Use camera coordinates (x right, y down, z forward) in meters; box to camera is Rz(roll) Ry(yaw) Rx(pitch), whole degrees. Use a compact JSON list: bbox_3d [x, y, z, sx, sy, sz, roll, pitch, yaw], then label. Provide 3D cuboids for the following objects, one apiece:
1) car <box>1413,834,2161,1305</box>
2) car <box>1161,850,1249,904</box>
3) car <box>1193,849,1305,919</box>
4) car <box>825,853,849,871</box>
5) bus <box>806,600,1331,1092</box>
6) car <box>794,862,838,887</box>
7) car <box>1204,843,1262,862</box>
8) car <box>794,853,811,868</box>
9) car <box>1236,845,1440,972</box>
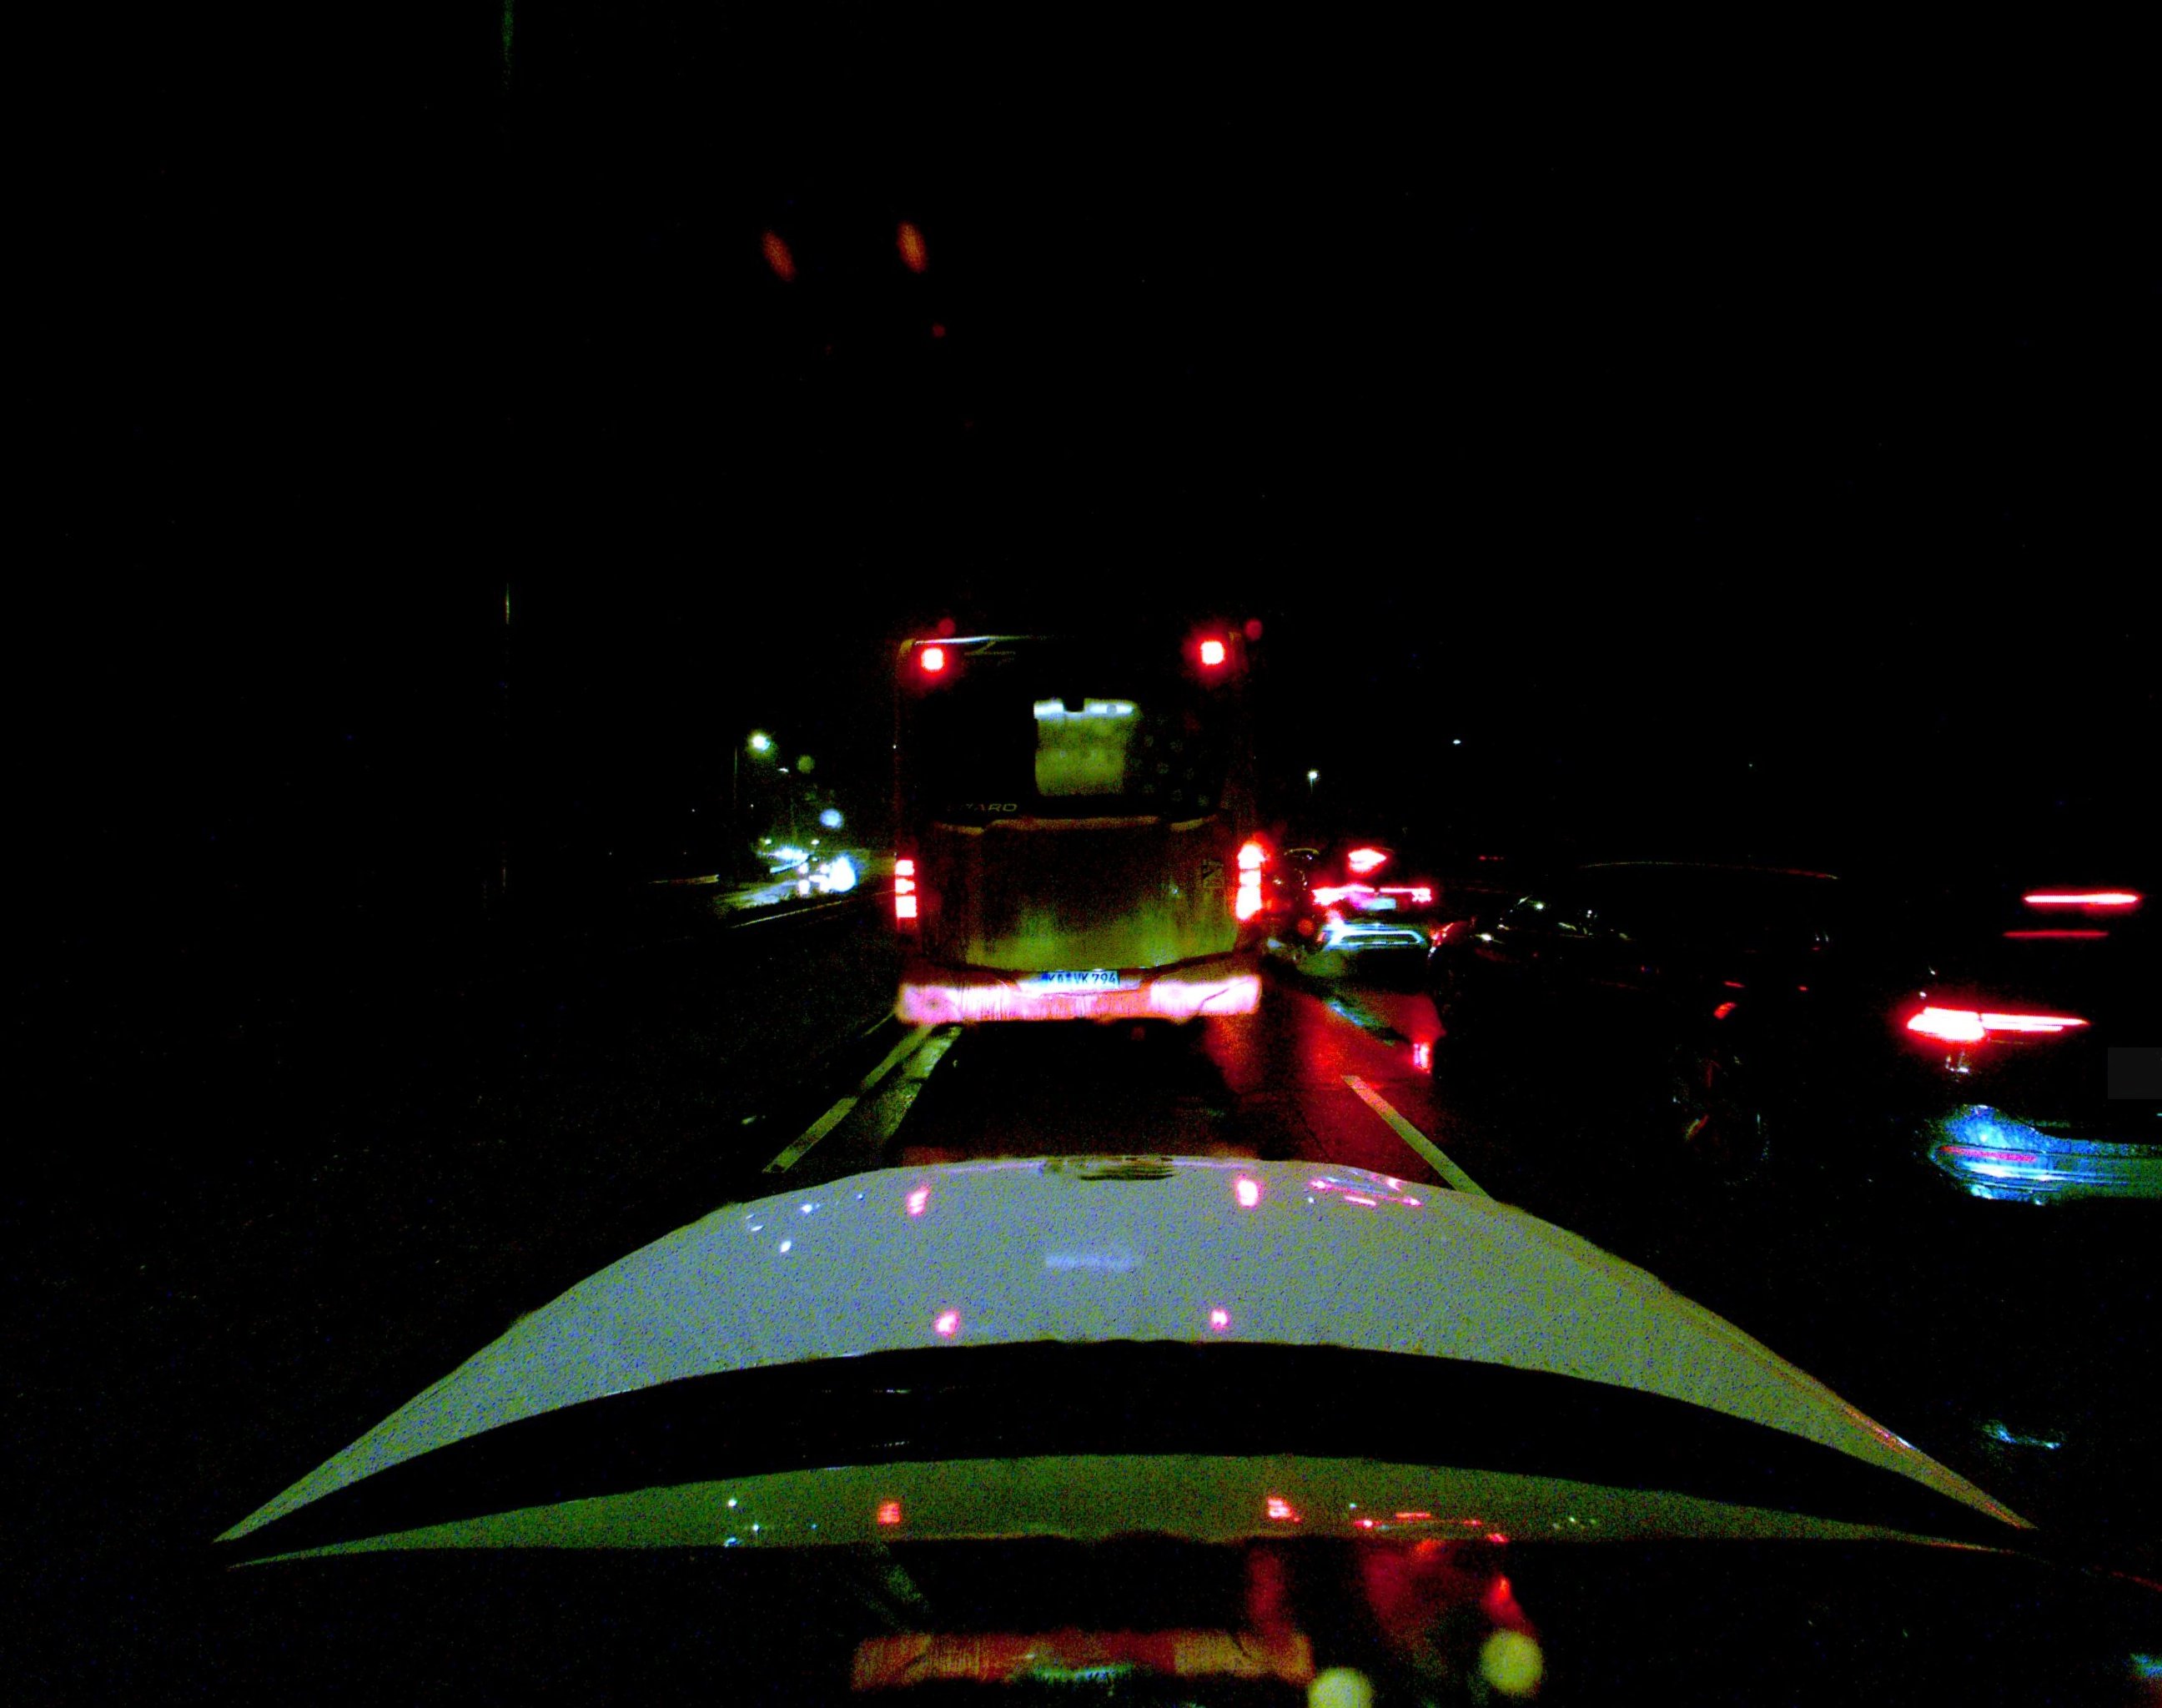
[{"bbox_3d":[3.690,0.701,4.888,1.666,1.506,4.561,0,0,2],"label":"car"},{"bbox_3d":[3.541,0.635,23.935,1.987,1.441,3.999,0,-1,0],"label":"car"},{"bbox_3d":[3.583,0.602,18.063,1.680,1.330,3.960,-2,0,1],"label":"car"},{"bbox_3d":[-19.844,0.668,66.428,1.715,1.423,4.643,-1,0,-15],"label":"car"},{"bbox_3d":[-0.046,-0.158,9.980,3.274,3.050,9.544,-2,1,0],"label":"bus"},{"bbox_3d":[-16.817,1.270,51.952,1.994,1.508,4.822,-2,0,-11],"label":"car"},{"bbox_3d":[12.723,-0.117,68.458,4.477,1.519,1.853,0,2,-6],"label":"car"},{"bbox_3d":[-31.819,0.678,93.002,1.771,1.631,4.222,-1,0,-20],"label":"car"},{"bbox_3d":[3.499,0.676,11.868,1.672,1.521,3.959,0,-1,-1],"label":"car"}]
